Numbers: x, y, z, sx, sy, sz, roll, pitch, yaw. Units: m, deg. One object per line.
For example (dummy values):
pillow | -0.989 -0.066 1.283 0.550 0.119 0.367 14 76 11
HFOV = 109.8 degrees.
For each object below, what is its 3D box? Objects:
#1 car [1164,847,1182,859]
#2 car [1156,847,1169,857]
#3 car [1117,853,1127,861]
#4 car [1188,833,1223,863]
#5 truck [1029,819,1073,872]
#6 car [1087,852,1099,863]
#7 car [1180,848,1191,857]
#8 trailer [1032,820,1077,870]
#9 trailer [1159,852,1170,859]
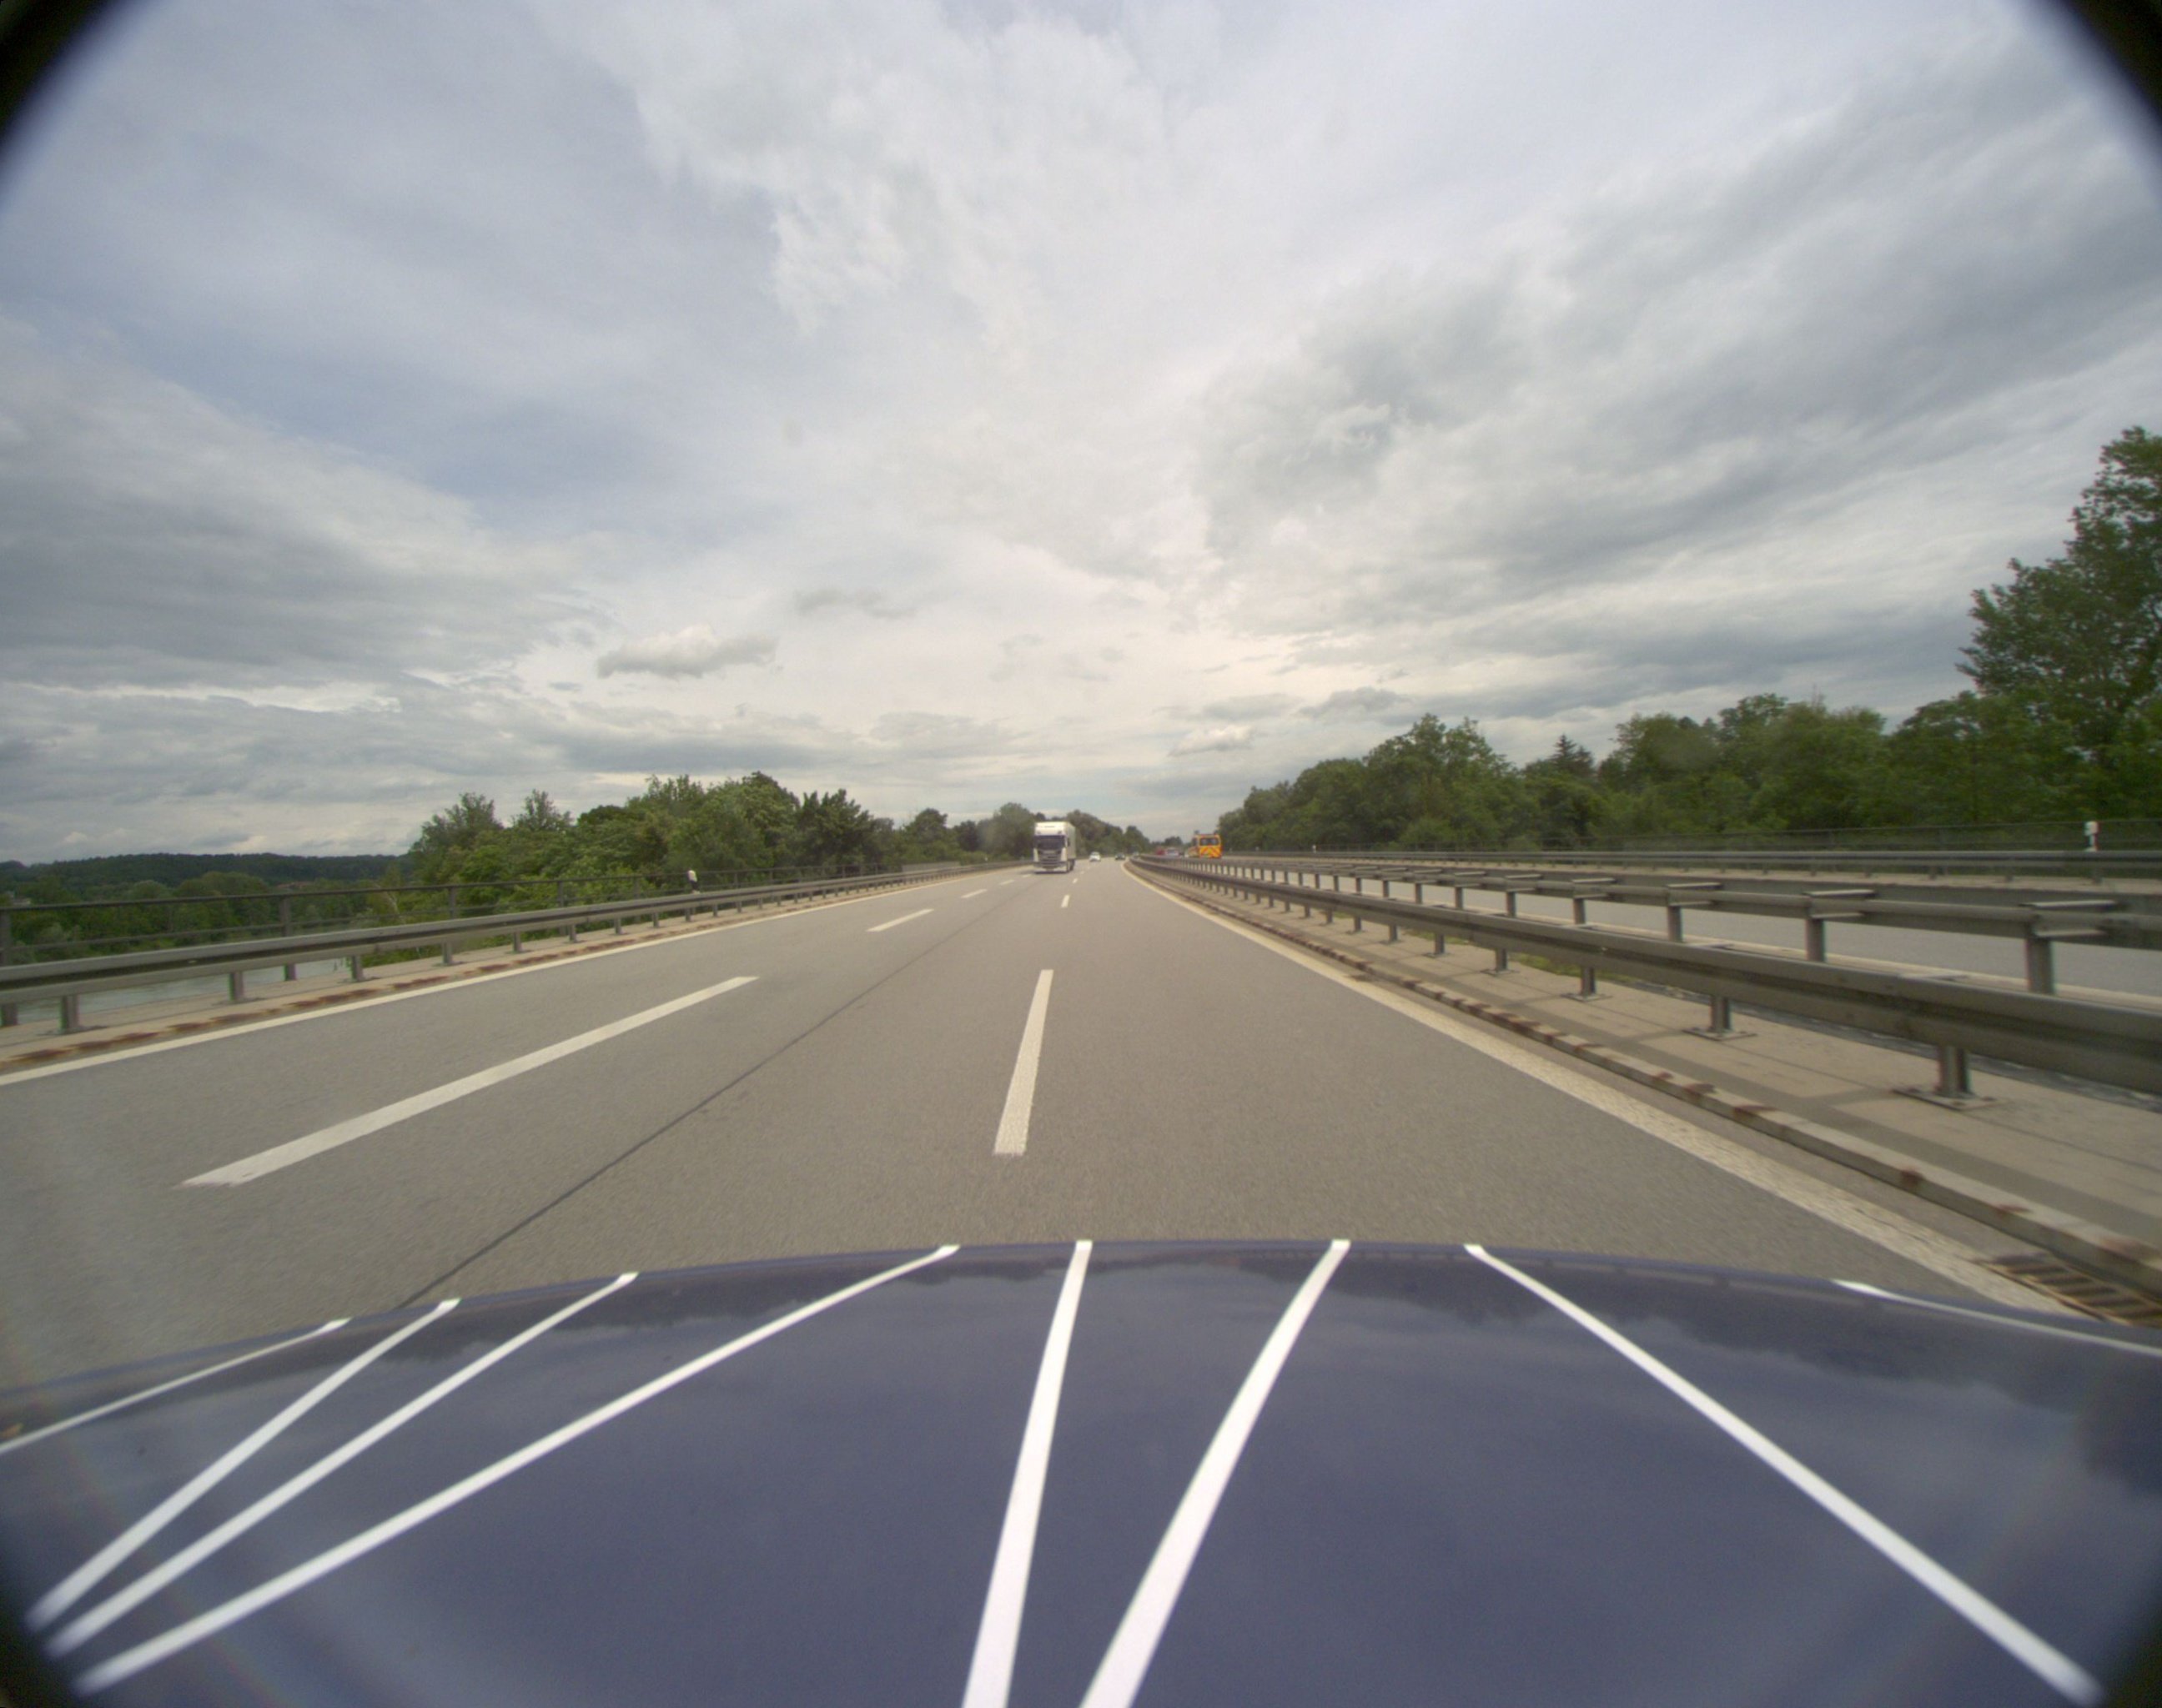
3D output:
car | 11.473 -0.192 94.870 1.733 1.398 4.249 -2 0 2
car | 14.175 -0.327 132.768 1.817 1.631 4.569 -2 0 2
car | 7.821 0.626 145.123 1.774 1.474 4.700 0 -1 6
car | 10.116 -0.462 62.283 1.998 2.279 6.398 -2 0 2
truck | -2.265 -0.609 59.745 3.070 3.869 6.000 -1 0 1
car | 2.081 0.577 128.941 1.774 1.813 4.166 -2 0 3
car | 19.933 -0.232 144.978 1.714 1.631 4.569 -2 0 2
trailer | -2.125 -0.696 66.805 3.069 3.867 13.791 -1 0 1
trailer | 14.199 0.259 128.983 1.562 1.118 3.451 -1 0 2
